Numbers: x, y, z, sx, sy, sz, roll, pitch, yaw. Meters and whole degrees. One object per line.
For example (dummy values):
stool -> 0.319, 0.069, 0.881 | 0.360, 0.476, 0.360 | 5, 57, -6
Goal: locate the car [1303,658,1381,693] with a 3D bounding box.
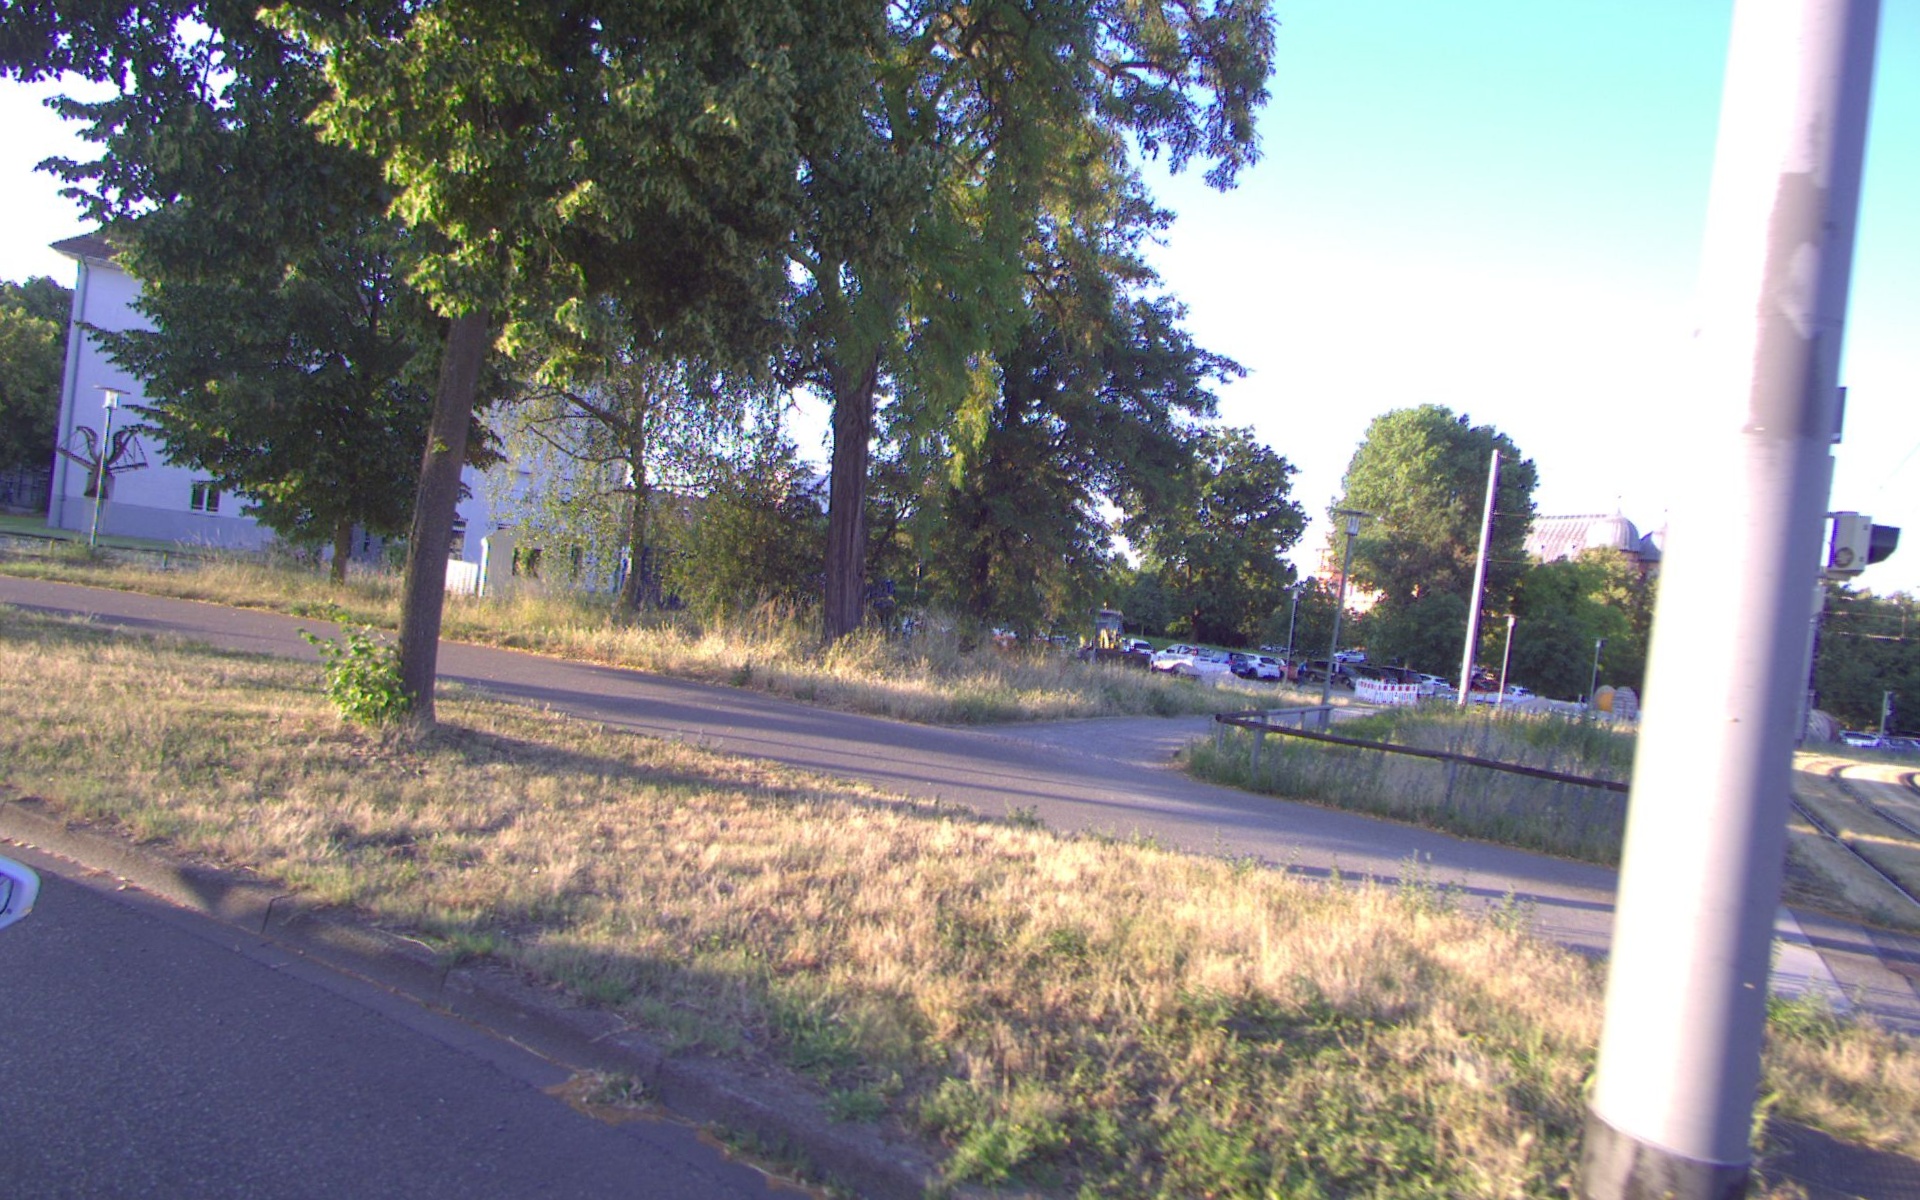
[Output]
car -> 23.435, 4.618, 61.844 | 1.884, 1.572, 4.065 | 7, -1, -32

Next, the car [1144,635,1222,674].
car -> 12.587, 3.063, 56.932 | 1.933, 1.682, 3.967 | 7, -1, -32

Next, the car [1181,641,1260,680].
car -> 14.884, 3.434, 57.665 | 1.933, 1.682, 3.967 | 7, -1, -32

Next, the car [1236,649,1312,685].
car -> 18.789, 3.993, 60.384 | 1.884, 1.572, 3.967 | 7, -1, -32

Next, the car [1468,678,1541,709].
car -> 38.136, 6.539, 70.495 | 1.884, 1.572, 3.967 | 7, -1, -32

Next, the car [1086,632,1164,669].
car -> 8.804, 2.697, 53.963 | 1.933, 1.463, 3.967 | 7, -1, -32

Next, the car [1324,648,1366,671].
car -> 40.523, 6.296, 105.862 | 3.958, 1.765, 1.984 | 9, 0, -30

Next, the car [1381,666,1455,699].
car -> 30.021, 5.420, 66.062 | 1.884, 1.572, 3.967 | 7, -1, -32

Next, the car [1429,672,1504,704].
car -> 34.127, 5.923, 67.844 | 1.884, 1.572, 3.967 | 7, -1, -32

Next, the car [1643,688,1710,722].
car -> 59.045, 8.650, 82.971 | 1.884, 2.121, 3.967 | 7, 0, -32

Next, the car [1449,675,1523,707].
car -> 36.108, 6.263, 69.161 | 1.884, 1.572, 3.967 | 7, -1, -32

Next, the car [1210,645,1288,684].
car -> 16.816, 3.748, 58.692 | 1.933, 1.682, 3.967 | 7, -1, -32

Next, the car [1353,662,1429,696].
car -> 27.571, 5.028, 64.436 | 1.884, 1.572, 3.967 | 7, -1, -32

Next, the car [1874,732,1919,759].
car -> 70.263, 10.888, 74.395 | 1.696, 1.499, 3.577 | 9, 0, -35

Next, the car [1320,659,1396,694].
car -> 24.774, 4.745, 62.721 | 1.884, 1.572, 3.967 | 7, -1, -32
